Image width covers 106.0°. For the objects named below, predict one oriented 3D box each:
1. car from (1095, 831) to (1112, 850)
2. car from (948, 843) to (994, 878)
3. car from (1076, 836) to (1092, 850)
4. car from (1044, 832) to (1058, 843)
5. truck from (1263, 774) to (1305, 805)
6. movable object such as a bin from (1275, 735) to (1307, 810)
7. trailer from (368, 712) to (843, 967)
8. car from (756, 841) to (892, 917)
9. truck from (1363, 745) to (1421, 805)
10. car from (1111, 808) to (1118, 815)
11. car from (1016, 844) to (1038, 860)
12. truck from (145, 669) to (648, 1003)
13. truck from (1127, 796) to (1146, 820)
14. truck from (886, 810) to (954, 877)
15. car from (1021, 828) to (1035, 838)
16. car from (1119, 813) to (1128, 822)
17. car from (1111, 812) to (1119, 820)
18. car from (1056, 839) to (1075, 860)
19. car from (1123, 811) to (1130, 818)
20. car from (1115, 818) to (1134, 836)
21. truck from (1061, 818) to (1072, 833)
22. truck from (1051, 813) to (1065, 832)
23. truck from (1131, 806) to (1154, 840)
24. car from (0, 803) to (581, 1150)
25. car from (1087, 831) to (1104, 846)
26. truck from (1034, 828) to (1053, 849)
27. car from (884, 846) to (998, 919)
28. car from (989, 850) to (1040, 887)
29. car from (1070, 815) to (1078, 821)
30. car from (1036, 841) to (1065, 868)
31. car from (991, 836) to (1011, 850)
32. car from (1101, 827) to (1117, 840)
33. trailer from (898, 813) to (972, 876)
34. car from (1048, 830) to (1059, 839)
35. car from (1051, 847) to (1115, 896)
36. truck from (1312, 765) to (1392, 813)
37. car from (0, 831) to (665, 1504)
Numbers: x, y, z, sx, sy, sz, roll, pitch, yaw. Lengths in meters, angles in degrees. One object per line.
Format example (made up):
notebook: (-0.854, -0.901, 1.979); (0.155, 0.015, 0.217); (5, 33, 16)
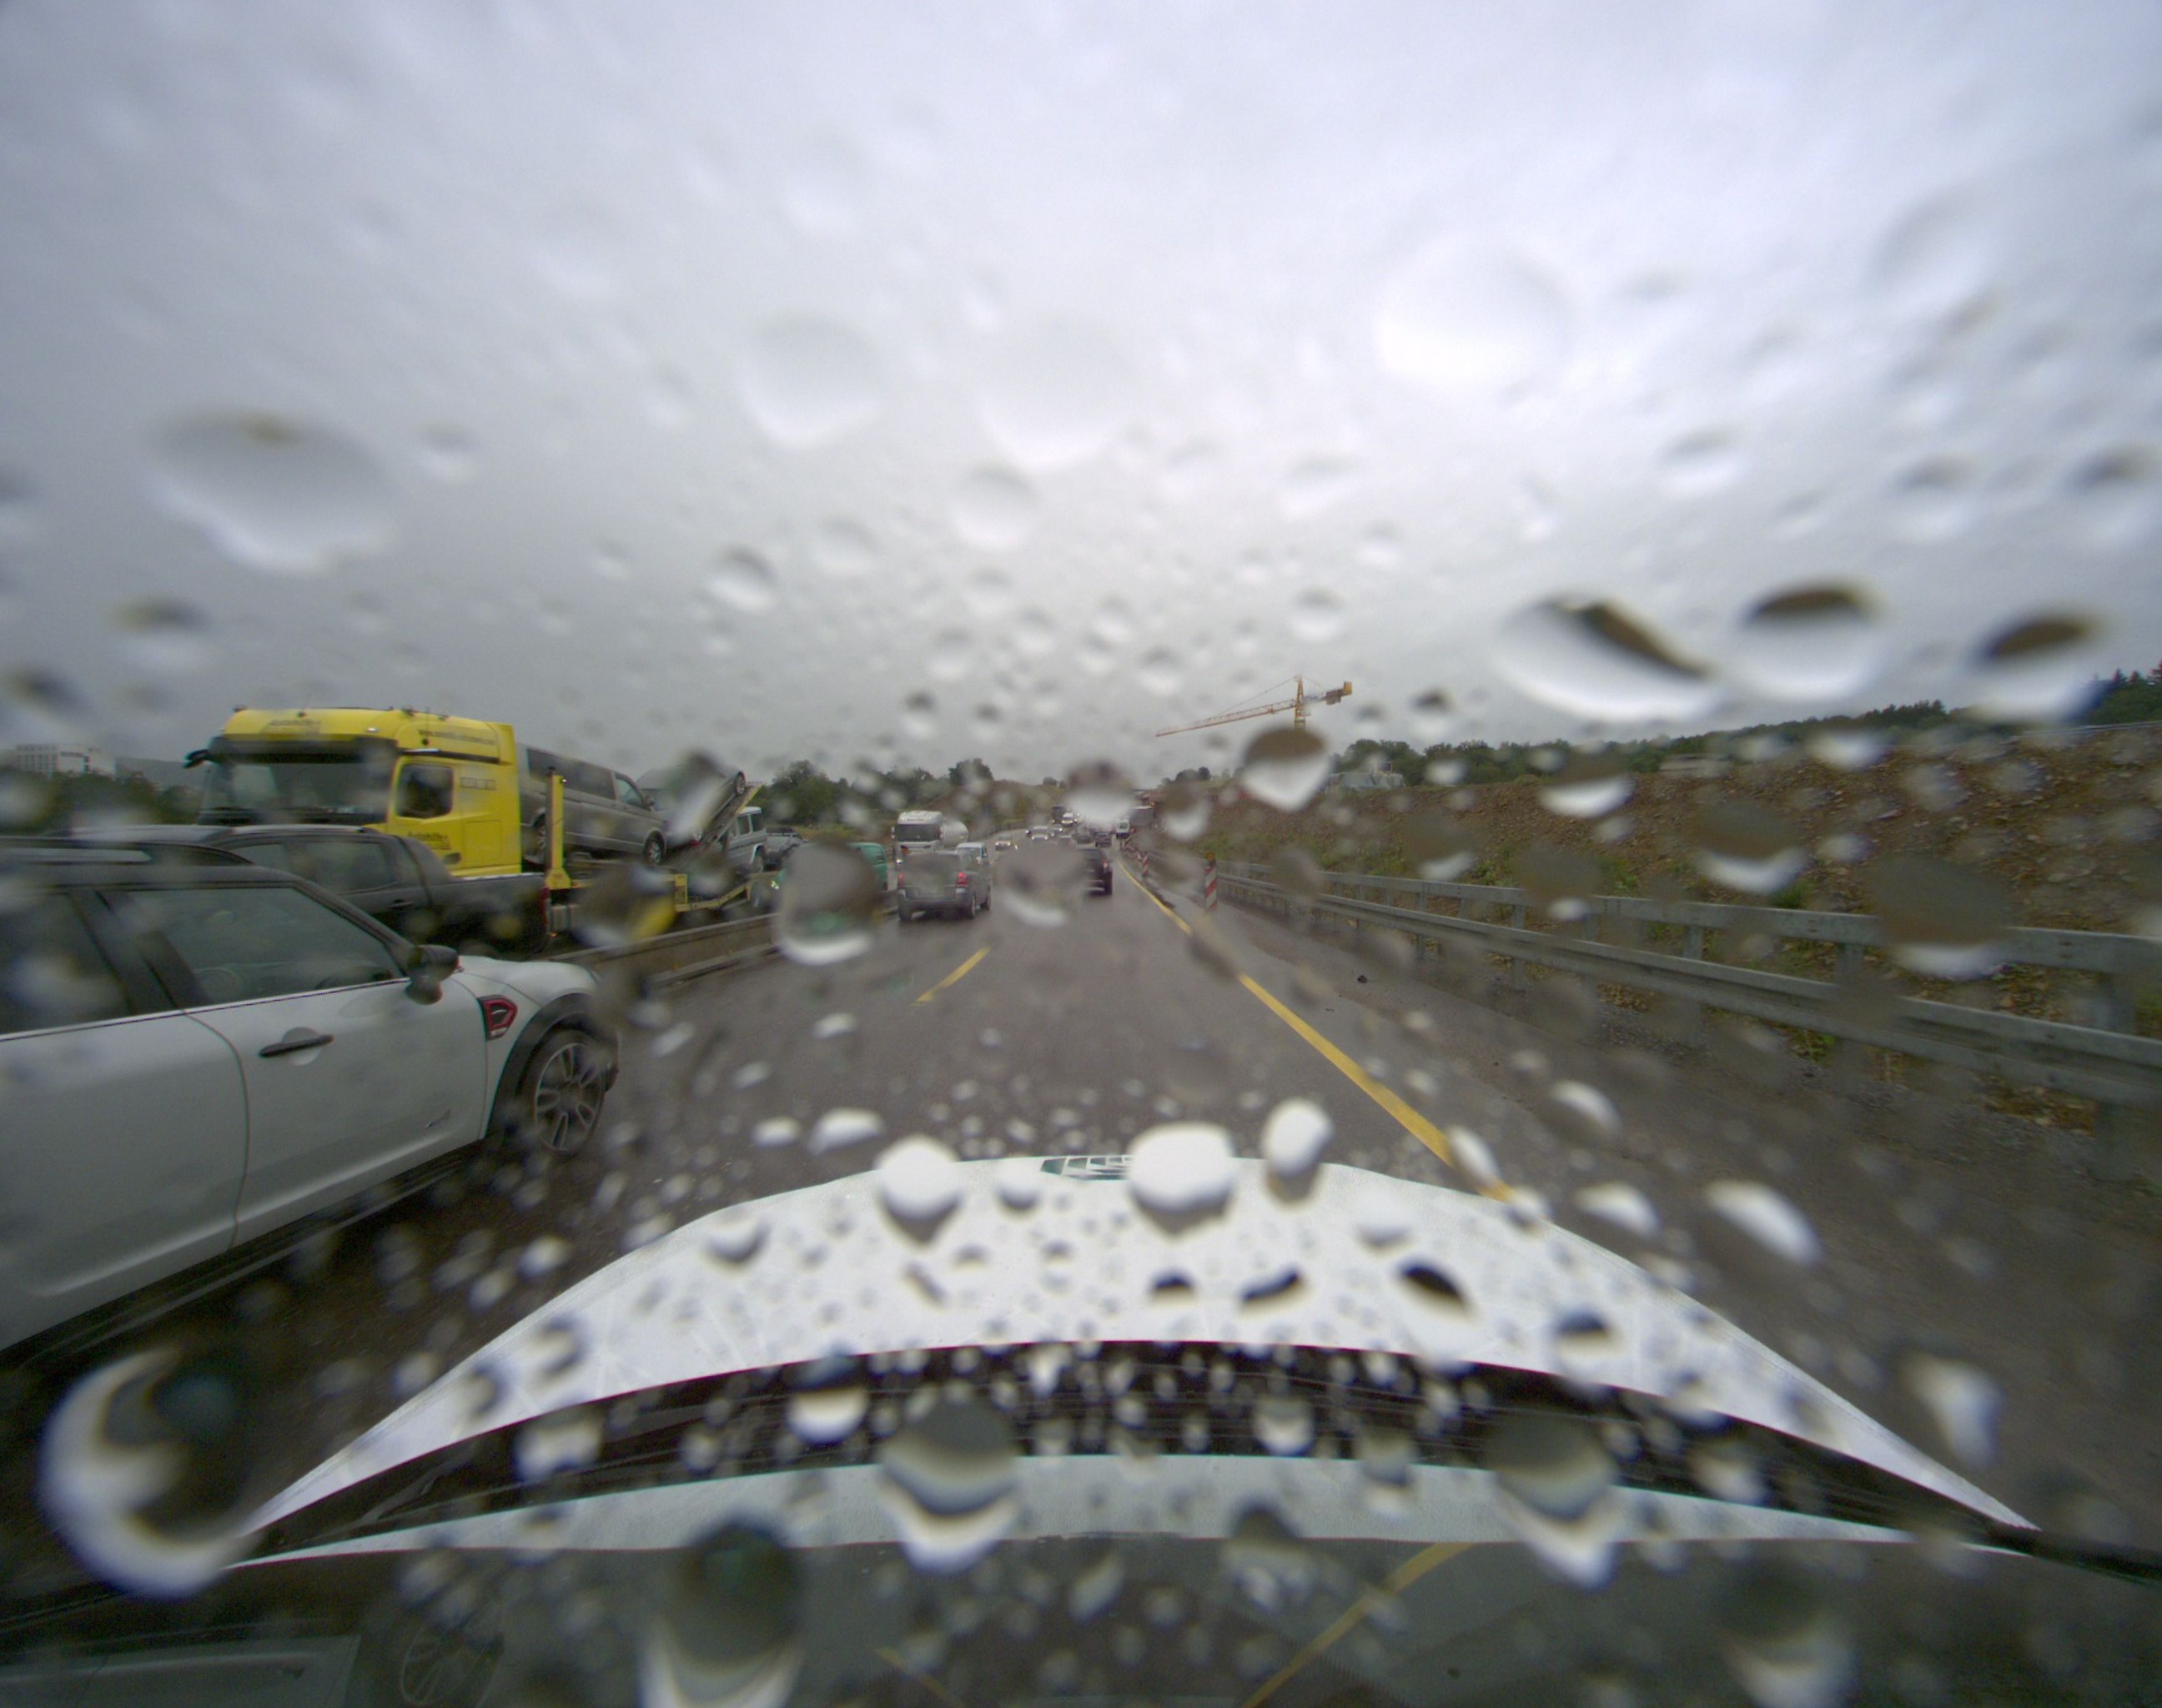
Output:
car: (2.744, -1.576, 97.404); (1.986, 2.162, 4.142); (-1, 0, 2)
car: (-5.983, 0.327, 44.791); (1.859, 1.800, 4.163); (-1, 0, 0)
car: (0.385, -1.426, 107.339); (1.986, 1.761, 3.816); (-1, 0, 2)
car: (-4.423, -2.410, 121.285); (1.780, 1.538, 4.313); (-1, 1, 1)
truck: (20.660, -6.539, 83.191); (2.636, 2.554, 6.985); (-1, 0, 0)
movable object such as a bin: (33.694, -12.788, 130.361); (4.683, 10.841, 10.346); (-1, 0, 15)
trailer: (-9.858, -0.269, 20.717); (2.739, 4.042, 15.362); (-1, 0, 1)
car: (-6.561, 0.588, 21.445); (1.986, 1.759, 4.689); (-1, 0, 1)
truck: (24.747, -6.172, 65.040); (2.365, 4.218, 5.979); (-1, 0, 0)
car: (10.206, -12.814, 246.333); (1.987, 2.013, 4.000); (-1, 0, 0)
car: (-5.395, -0.212, 82.065); (1.766, 1.504, 4.679); (-1, 1, 1)
truck: (-10.037, -0.238, 13.072); (2.739, 4.062, 6.149); (-1, 0, 1)
truck: (13.453, -11.179, 198.758); (3.791, 5.042, 12.922); (-1, 0, 0)
truck: (-9.399, -0.587, 48.203); (2.612, 3.677, 6.595); (-1, 0, 0)
car: (-8.291, -3.290, 128.488); (1.780, 1.538, 4.313); (-1, 1, 1)
car: (9.758, -8.338, 186.653); (1.987, 2.013, 4.001); (-1, 2, 1)
car: (8.640, -9.777, 209.015); (1.987, 2.013, 4.001); (-1, 2, 1)
car: (-1.686, -0.520, 87.646); (1.988, 2.162, 4.137); (-1, 0, -2)
car: (13.008, -11.261, 232.732); (1.987, 2.013, 4.000); (-1, 0, 0)
car: (6.440, -3.886, 119.881); (1.980, 2.484, 4.999); (-1, 0, 12)
truck: (-2.818, -5.623, 160.656); (2.140, 2.713, 6.017); (-1, 2, 0)
truck: (-4.976, -6.764, 174.886); (2.633, 3.969, 9.214); (-1, 3, 0)
truck: (10.425, -5.084, 137.865); (3.083, 5.425, 9.466); (-1, 0, 9)
car: (-6.485, 0.660, 6.385); (1.781, 1.805, 5.191); (-2, 0, 1)
car: (2.146, -2.285, 119.198); (1.982, 2.162, 4.151); (-1, 0, 9)
truck: (-4.656, -1.936, 102.380); (2.071, 2.576, 5.962); (-1, 0, 1)
car: (-3.336, 0.627, 20.284); (1.986, 1.600, 4.142); (-1, 0, 2)
car: (-3.024, 0.607, 37.774); (1.987, 1.600, 4.139); (-1, 0, 0)
car: (-1.817, -9.236, 209.848); (1.731, 1.684, 5.554); (0, 3, 1)
car: (-2.317, 0.020, 62.307); (1.987, 2.013, 3.893); (-1, 0, 0)
car: (-8.968, -1.256, 91.931); (1.782, 1.546, 4.001); (-1, 1, 1)
car: (4.572, -3.321, 132.779); (1.981, 2.162, 4.152); (-1, 0, 10)
trailer: (-9.346, -0.614, 53.694); (2.611, 3.677, 12.004); (-1, 0, 0)
car: (-4.585, -3.291, 137.658); (1.671, 1.523, 4.346); (-1, 2, 1)
car: (0.131, 0.565, 28.958); (2.073, 1.600, 4.142); (-1, 0, 2)
truck: (20.002, -4.750, 60.824); (3.382, 2.875, 8.966); (-1, 0, 3)
car: (-3.475, 0.744, 2.795); (1.810, 1.600, 4.309); (-1, 1, 1)
